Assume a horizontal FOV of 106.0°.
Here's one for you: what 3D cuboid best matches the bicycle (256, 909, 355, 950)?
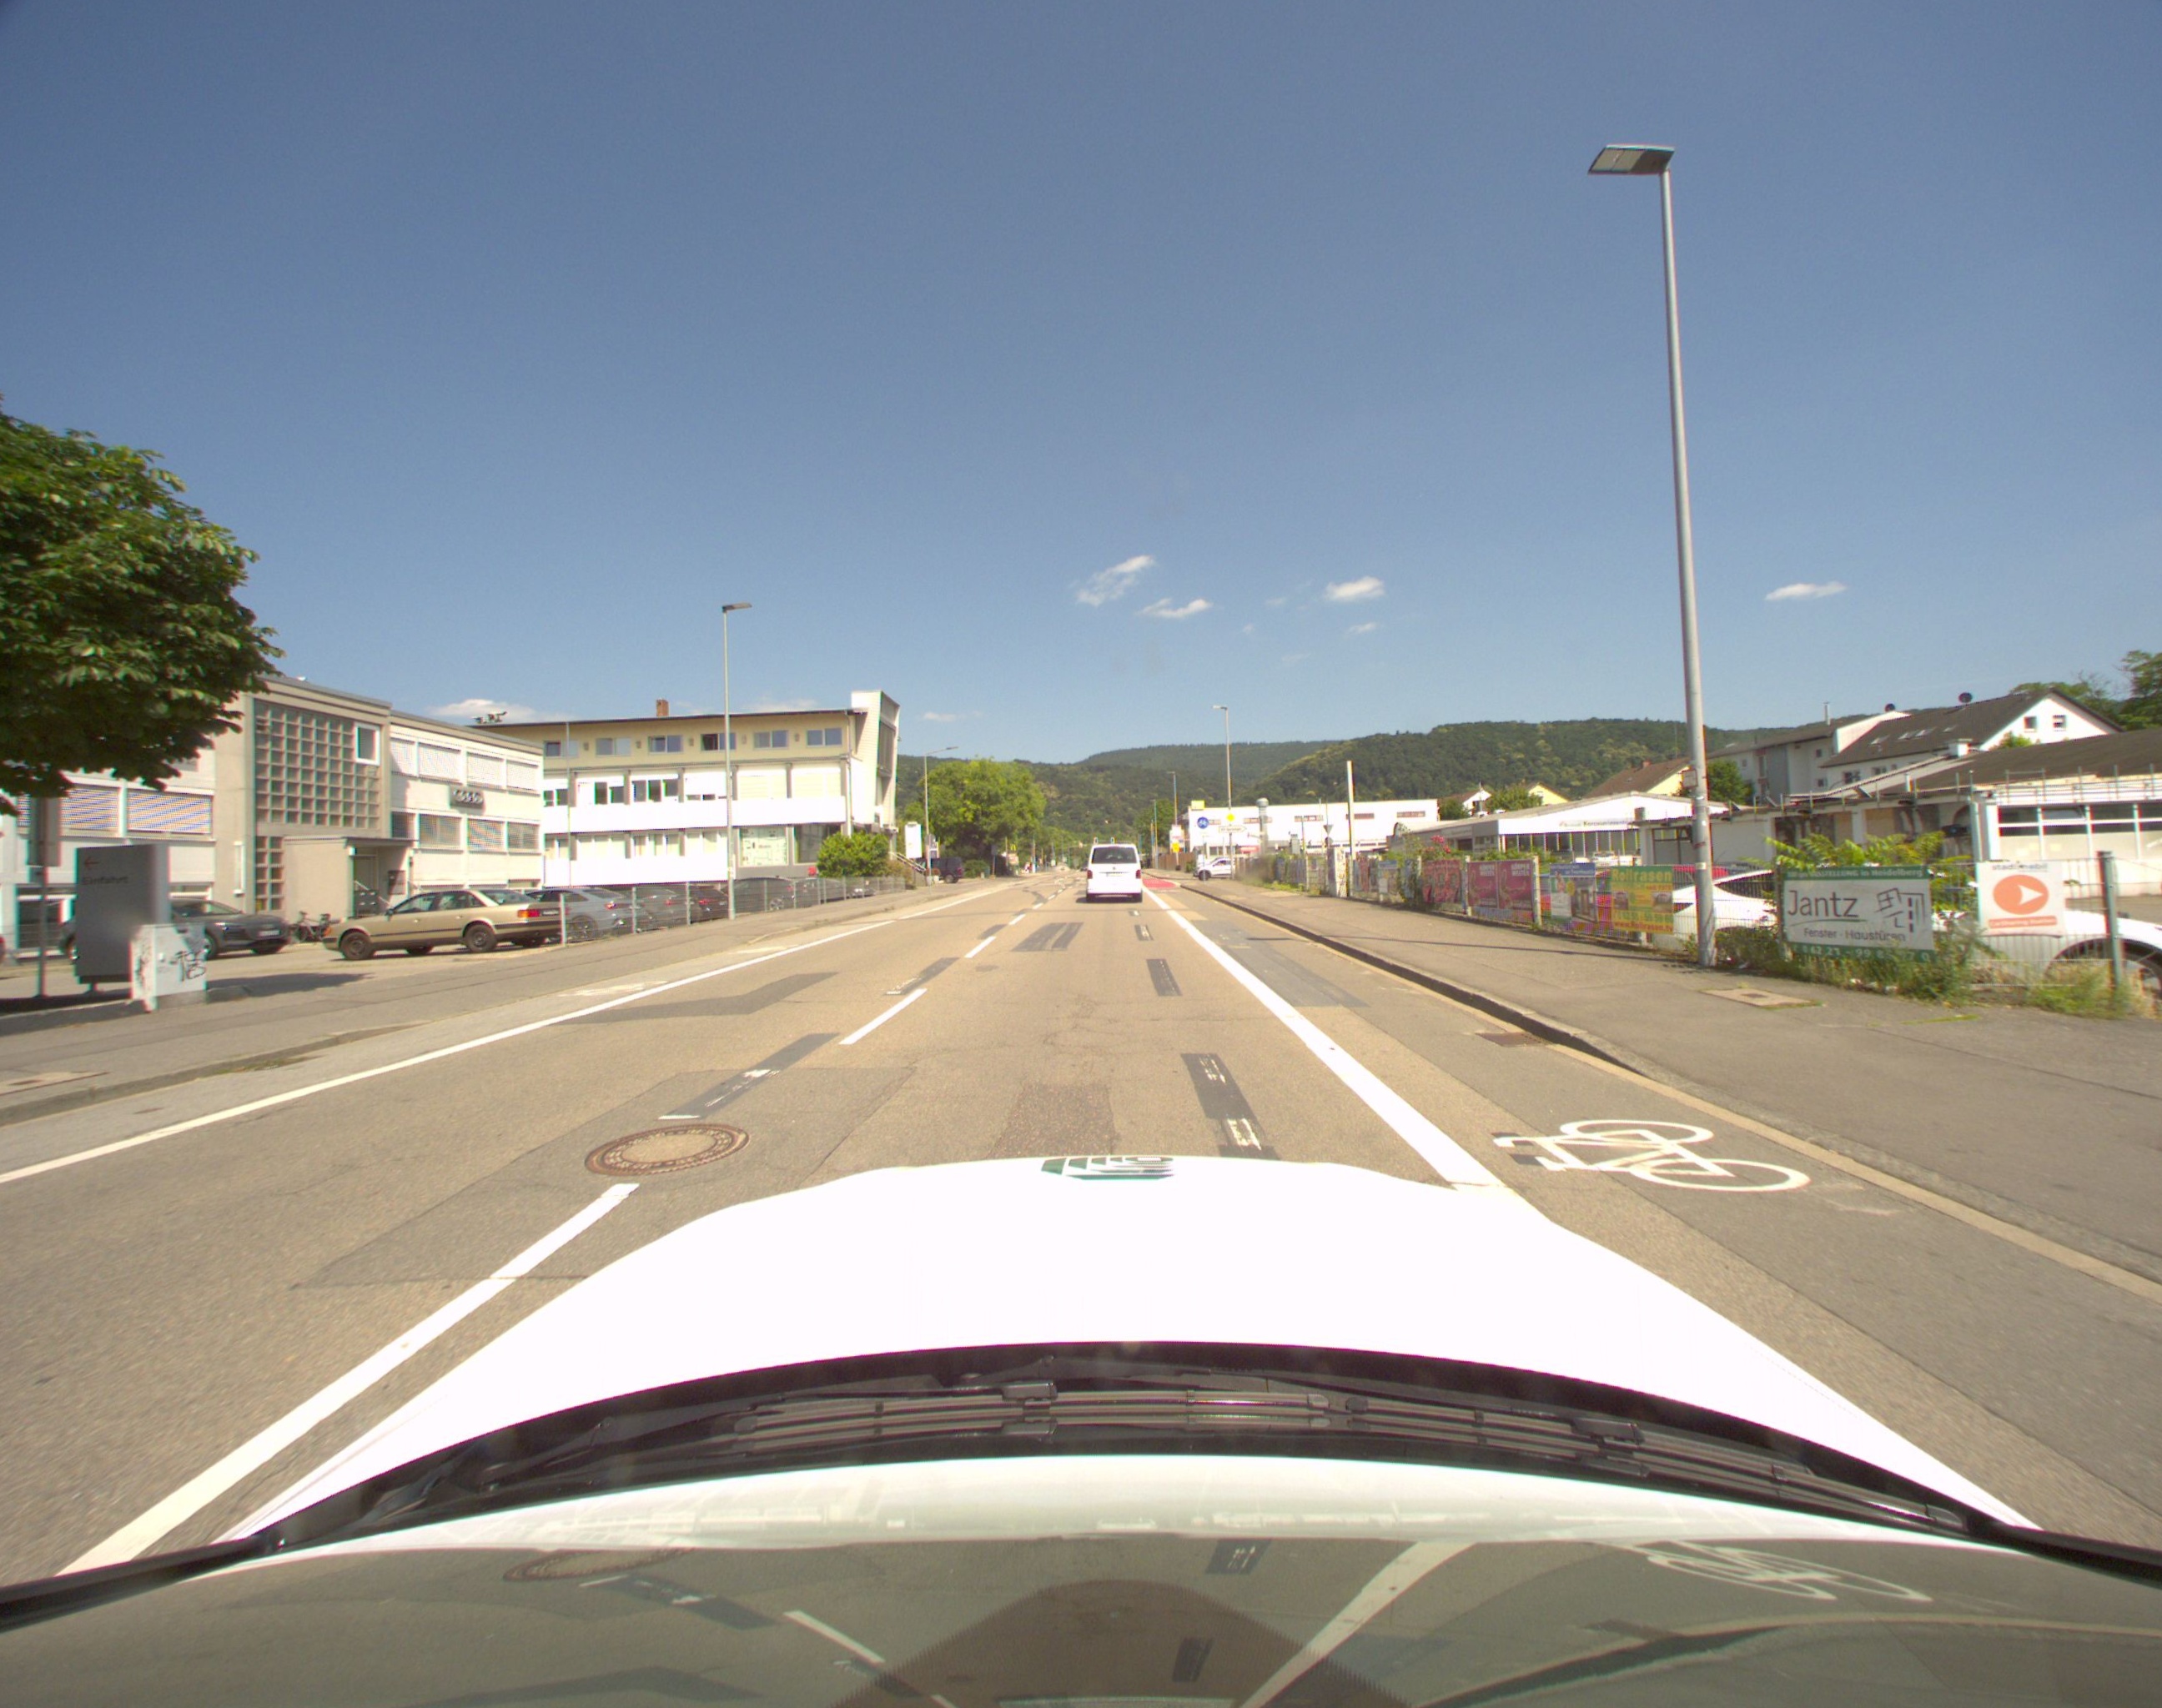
[{"bbox_3d":[-26.704,2.561,28.115,0.922,1.178,2.576,-1,0,0],"label":"bicycle"}]

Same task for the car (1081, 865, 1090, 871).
[{"bbox_3d":[0.955,3.214,185.095,1.987,1.370,4.326,-3,-1,0],"label":"car"}]

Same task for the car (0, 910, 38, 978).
[{"bbox_3d":[-24.324,1.937,16.519,3.972,1.359,1.860,-2,-1,1],"label":"car"}]

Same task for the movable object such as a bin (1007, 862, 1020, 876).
[{"bbox_3d":[-8.145,1.778,98.307,1.447,1.590,1.304,-3,-1,-7],"label":"movable object such as a bin"}]

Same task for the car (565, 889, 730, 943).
[{"bbox_3d":[-13.277,1.897,25.129,3.976,1.491,1.857,2,-3,-2],"label":"car"}]

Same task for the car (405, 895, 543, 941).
[{"bbox_3d":[-23.659,2.472,31.845,3.974,1.546,1.859,-2,-1,0],"label":"car"}]

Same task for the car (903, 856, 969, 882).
[{"bbox_3d":[-10.803,1.109,60.868,4.556,1.865,2.090,-1,-1,-4],"label":"car"}]

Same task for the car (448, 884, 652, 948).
[{"bbox_3d":[-13.429,1.548,20.783,3.877,1.445,1.823,2,-3,0],"label":"car"}]

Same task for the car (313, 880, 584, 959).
[{"bbox_3d":[-14.037,1.414,18.281,4.510,1.457,1.900,-2,-1,-1],"label":"car"}]

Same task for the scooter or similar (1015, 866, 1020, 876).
[{"bbox_3d":[-7.209,1.926,92.524,0.645,1.128,1.620,1,-1,-4],"label":"scooter or similar"}]

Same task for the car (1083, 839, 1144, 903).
[{"bbox_3d":[1.074,0.581,28.874,1.928,2.060,4.544,-1,-1,0],"label":"car"}]

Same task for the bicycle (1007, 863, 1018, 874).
[{"bbox_3d":[-7.494,1.559,88.823,1.024,1.118,2.764,1,-1,-1],"label":"bicycle"}]

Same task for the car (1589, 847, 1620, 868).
[{"bbox_3d":[37.815,0.295,58.900,1.771,1.464,3.848,-1,-1,31],"label":"car"}]

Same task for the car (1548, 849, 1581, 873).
[{"bbox_3d":[34.799,0.486,58.645,1.974,1.647,4.025,-1,1,31],"label":"car"}]

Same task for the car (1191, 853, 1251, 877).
[{"bbox_3d":[9.059,0.711,52.880,3.648,1.484,1.729,-1,-1,4],"label":"car"}]

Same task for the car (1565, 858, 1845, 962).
[{"bbox_3d":[11.108,0.934,14.734,3.780,1.616,1.905,-2,-1,39],"label":"car"}]

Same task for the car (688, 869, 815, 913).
[{"bbox_3d":[-13.292,1.479,33.033,4.285,1.558,1.993,-2,-1,-3],"label":"car"}]

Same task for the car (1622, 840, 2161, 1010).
[{"bbox_3d":[9.652,0.788,9.763,4.984,1.622,2.035,-2,-6,44],"label":"car"}]

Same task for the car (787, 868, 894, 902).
[{"bbox_3d":[-12.066,1.543,41.052,4.723,1.481,2.048,-2,-1,0],"label":"car"}]

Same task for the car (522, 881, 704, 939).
[{"bbox_3d":[-13.129,1.575,23.045,3.975,1.443,1.858,2,-3,-1],"label":"car"}]

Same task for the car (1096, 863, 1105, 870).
[{"bbox_3d":[4.516,2.853,189.824,1.842,1.588,4.002,-3,-1,2],"label":"car"}]

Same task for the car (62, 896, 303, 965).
[{"bbox_3d":[-24.181,2.028,22.047,4.342,1.553,1.858,-2,-1,-2],"label":"car"}]
